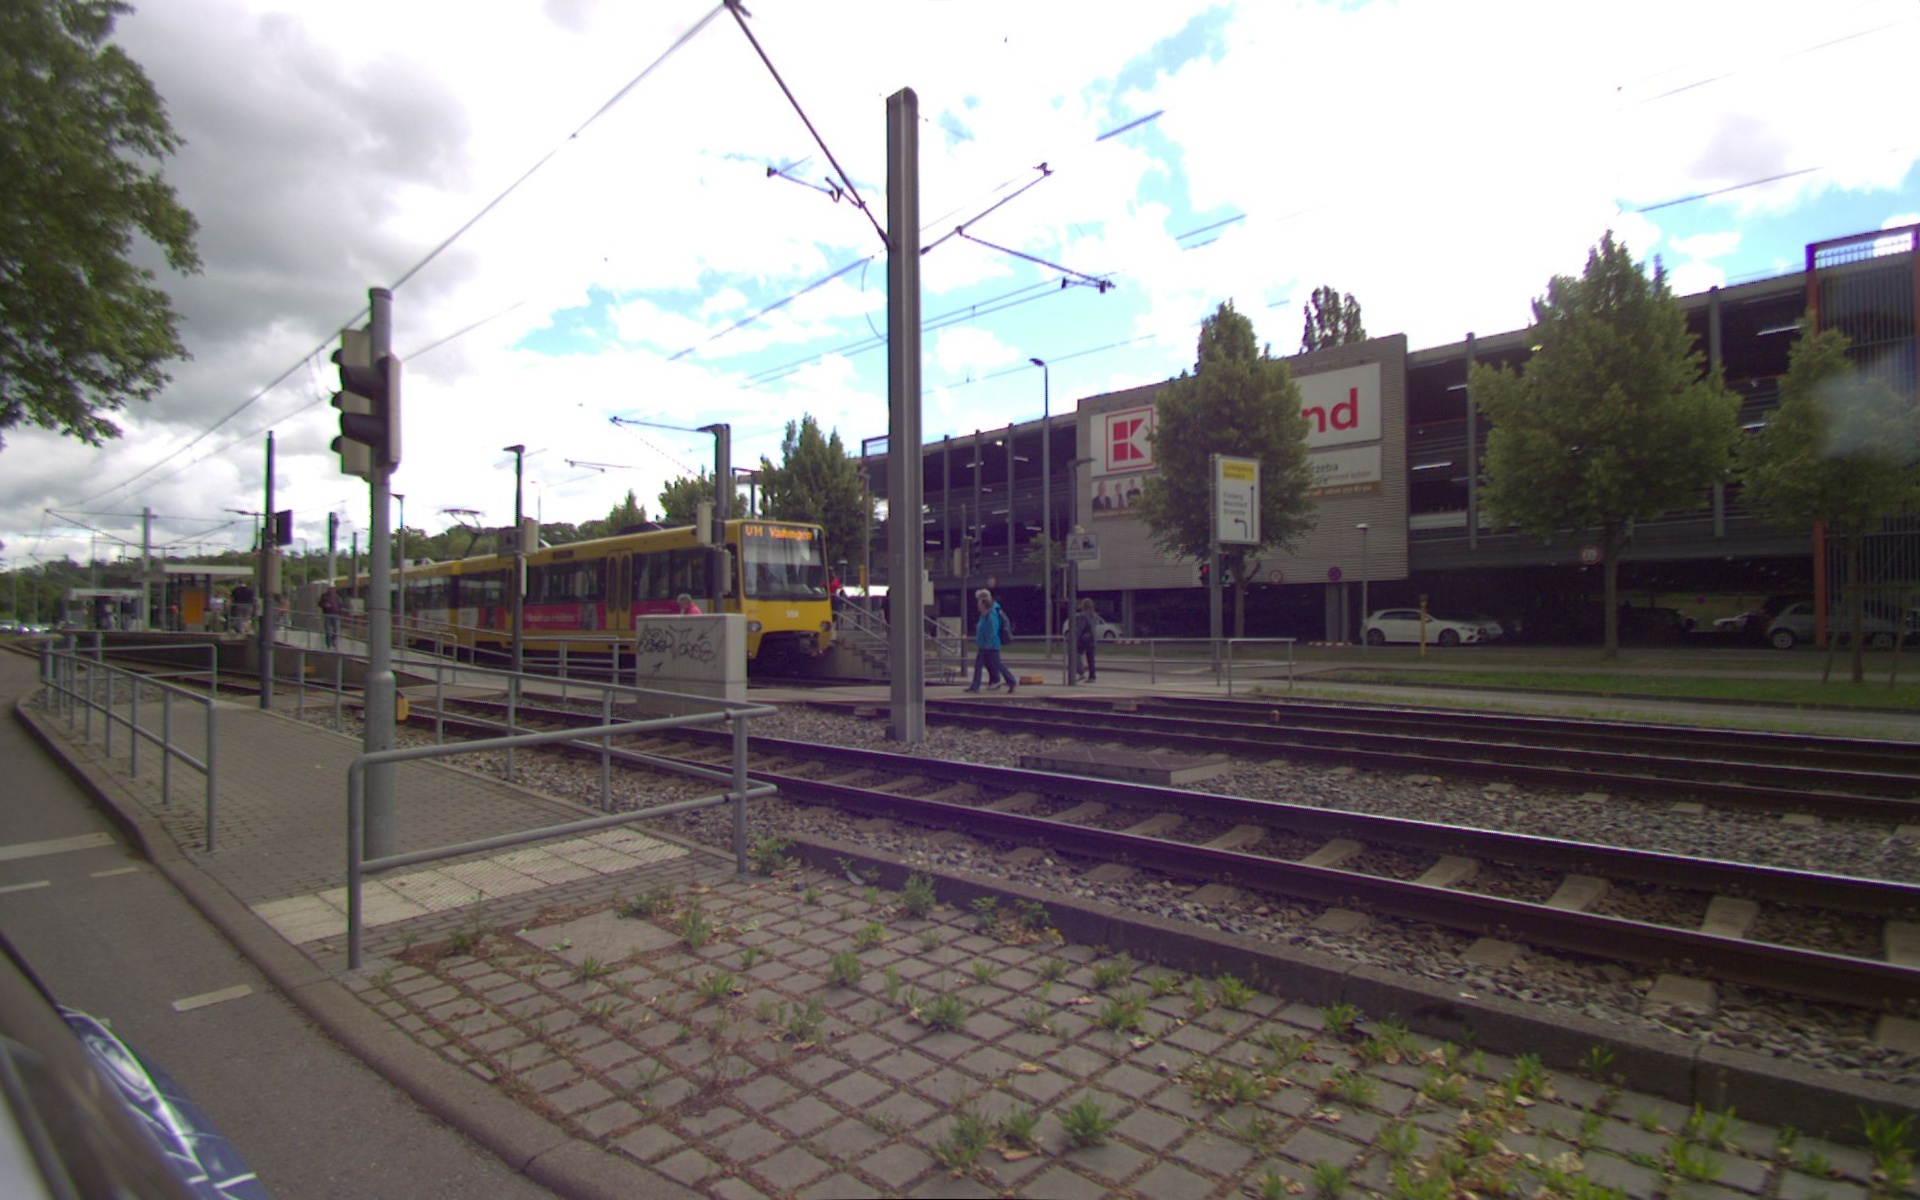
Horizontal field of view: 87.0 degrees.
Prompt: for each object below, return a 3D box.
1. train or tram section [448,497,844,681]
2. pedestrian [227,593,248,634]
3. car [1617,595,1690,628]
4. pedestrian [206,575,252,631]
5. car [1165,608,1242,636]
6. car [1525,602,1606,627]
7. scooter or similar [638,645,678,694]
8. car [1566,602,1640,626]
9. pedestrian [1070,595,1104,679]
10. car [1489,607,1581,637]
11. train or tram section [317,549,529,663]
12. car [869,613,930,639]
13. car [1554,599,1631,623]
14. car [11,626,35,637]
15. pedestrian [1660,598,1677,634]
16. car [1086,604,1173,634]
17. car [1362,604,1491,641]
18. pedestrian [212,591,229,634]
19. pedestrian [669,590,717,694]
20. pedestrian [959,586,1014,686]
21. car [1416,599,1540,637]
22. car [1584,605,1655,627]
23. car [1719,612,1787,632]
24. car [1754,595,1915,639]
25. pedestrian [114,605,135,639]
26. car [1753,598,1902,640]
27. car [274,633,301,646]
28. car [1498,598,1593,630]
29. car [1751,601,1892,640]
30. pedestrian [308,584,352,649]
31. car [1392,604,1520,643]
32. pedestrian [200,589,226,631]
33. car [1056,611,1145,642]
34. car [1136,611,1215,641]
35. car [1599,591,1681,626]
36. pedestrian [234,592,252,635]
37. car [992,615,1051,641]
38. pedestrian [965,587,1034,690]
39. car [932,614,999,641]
[{"bbox_3d":[-10.106,-0.037,28.910,2.724,3.858,18.645,0,-1,-44],"label":"train or tram section"},{"bbox_3d":[-25.326,0.485,35.473,0.411,1.416,0.474,-2,-3,43],"label":"pedestrian"},{"bbox_3d":[44.076,0.768,64.390,1.819,2.029,3.533,3,-3,-44],"label":"car"},{"bbox_3d":[-22.570,0.118,31.273,0.734,1.691,0.876,1,-2,-2],"label":"pedestrian"},{"bbox_3d":[13.490,1.240,56.166,3.871,1.526,1.735,-2,-3,45],"label":"car"},{"bbox_3d":[31.450,0.759,52.594,1.515,1.280,3.302,0,-1,-44],"label":"car"},{"bbox_3d":[-4.893,1.114,16.382,0.489,0.774,0.801,2,-2,-25],"label":"scooter or similar"},{"bbox_3d":[35.263,0.802,55.557,3.218,1.234,1.422,-2,-3,45],"label":"car"},{"bbox_3d":[2.571,0.743,20.484,0.509,1.675,0.467,2,-3,-35],"label":"pedestrian"},{"bbox_3d":[24.936,0.977,43.942,3.218,1.234,1.422,-2,-3,45],"label":"car"},{"bbox_3d":[-23.076,0.300,42.358,2.724,3.912,18.645,0,-1,-44],"label":"train or tram section"},{"bbox_3d":[-3.762,1.612,62.526,3.797,1.526,1.704,-2,-3,45],"label":"car"},{"bbox_3d":[33.428,0.583,53.524,3.218,1.233,1.422,-2,-1,45],"label":"car"},{"bbox_3d":[-130.824,4.435,141.339,1.967,1.547,4.009,2,-3,-37],"label":"car"},{"bbox_3d":[40.259,0.928,57.492,0.729,2.029,0.515,-1,-3,42],"label":"pedestrian"},{"bbox_3d":[8.445,0.990,50.594,1.757,1.414,4.002,3,-3,-44],"label":"car"},{"bbox_3d":[17.423,0.846,37.930,4.072,1.334,1.618,-2,-1,43],"label":"car"},{"bbox_3d":[-26.169,0.448,35.806,0.639,1.476,0.356,-2,-2,43],"label":"pedestrian"},{"bbox_3d":[-4.386,0.690,16.626,0.604,1.666,0.798,2,-3,-25],"label":"pedestrian"},{"bbox_3d":[0.471,0.629,17.769,0.646,1.711,0.730,2,-3,-35],"label":"pedestrian"},{"bbox_3d":[21.312,0.766,41.732,4.199,1.443,1.820,-1,-3,44],"label":"car"},{"bbox_3d":[38.124,0.907,58.522,3.218,1.233,1.422,-2,-1,45],"label":"car"},{"bbox_3d":[55.843,1.568,71.333,3.686,1.410,1.423,-1,-3,42],"label":"car"},{"bbox_3d":[25.840,0.509,29.980,1.422,1.233,3.477,0,-1,-44],"label":"car"},{"bbox_3d":[-44.293,1.181,53.649,0.937,1.757,0.740,-2,-3,44],"label":"pedestrian"},{"bbox_3d":[27.345,0.612,31.968,1.422,1.234,3.476,3,-3,-45],"label":"car"},{"bbox_3d":[-70.819,4.141,106.538,1.594,1.360,4.033,1,-2,-45],"label":"car"},{"bbox_3d":[28.262,0.696,48.914,1.691,1.512,3.657,0,-1,-44],"label":"car"},{"bbox_3d":[28.866,0.701,33.972,1.422,1.234,3.476,3,-3,-45],"label":"car"},{"bbox_3d":[-16.745,0.457,26.900,0.791,1.691,0.762,-2,-3,44],"label":"pedestrian"},{"bbox_3d":[19.595,0.935,40.055,4.199,1.443,1.820,-1,-3,44],"label":"car"},{"bbox_3d":[-26.779,0.369,36.290,0.513,1.494,0.582,1,-2,-8],"label":"pedestrian"},{"bbox_3d":[6.756,1.279,48.920,1.757,1.409,4.002,3,-3,-44],"label":"car"},{"bbox_3d":[11.570,1.400,54.559,3.871,1.526,1.735,-2,-3,45],"label":"car"},{"bbox_3d":[41.966,0.541,62.468,1.936,2.029,3.857,0,-1,-44],"label":"car"},{"bbox_3d":[-25.564,0.490,36.062,0.469,1.494,0.543,2,-3,-36],"label":"pedestrian"},{"bbox_3d":[3.762,1.741,62.167,3.393,1.523,1.541,-1,-3,43],"label":"car"},{"bbox_3d":[0.641,0.634,16.633,0.703,1.623,0.944,2,-3,-35],"label":"pedestrian"},{"bbox_3d":[0.299,1.587,58.850,3.797,1.526,1.704,-2,-3,45],"label":"car"}]
